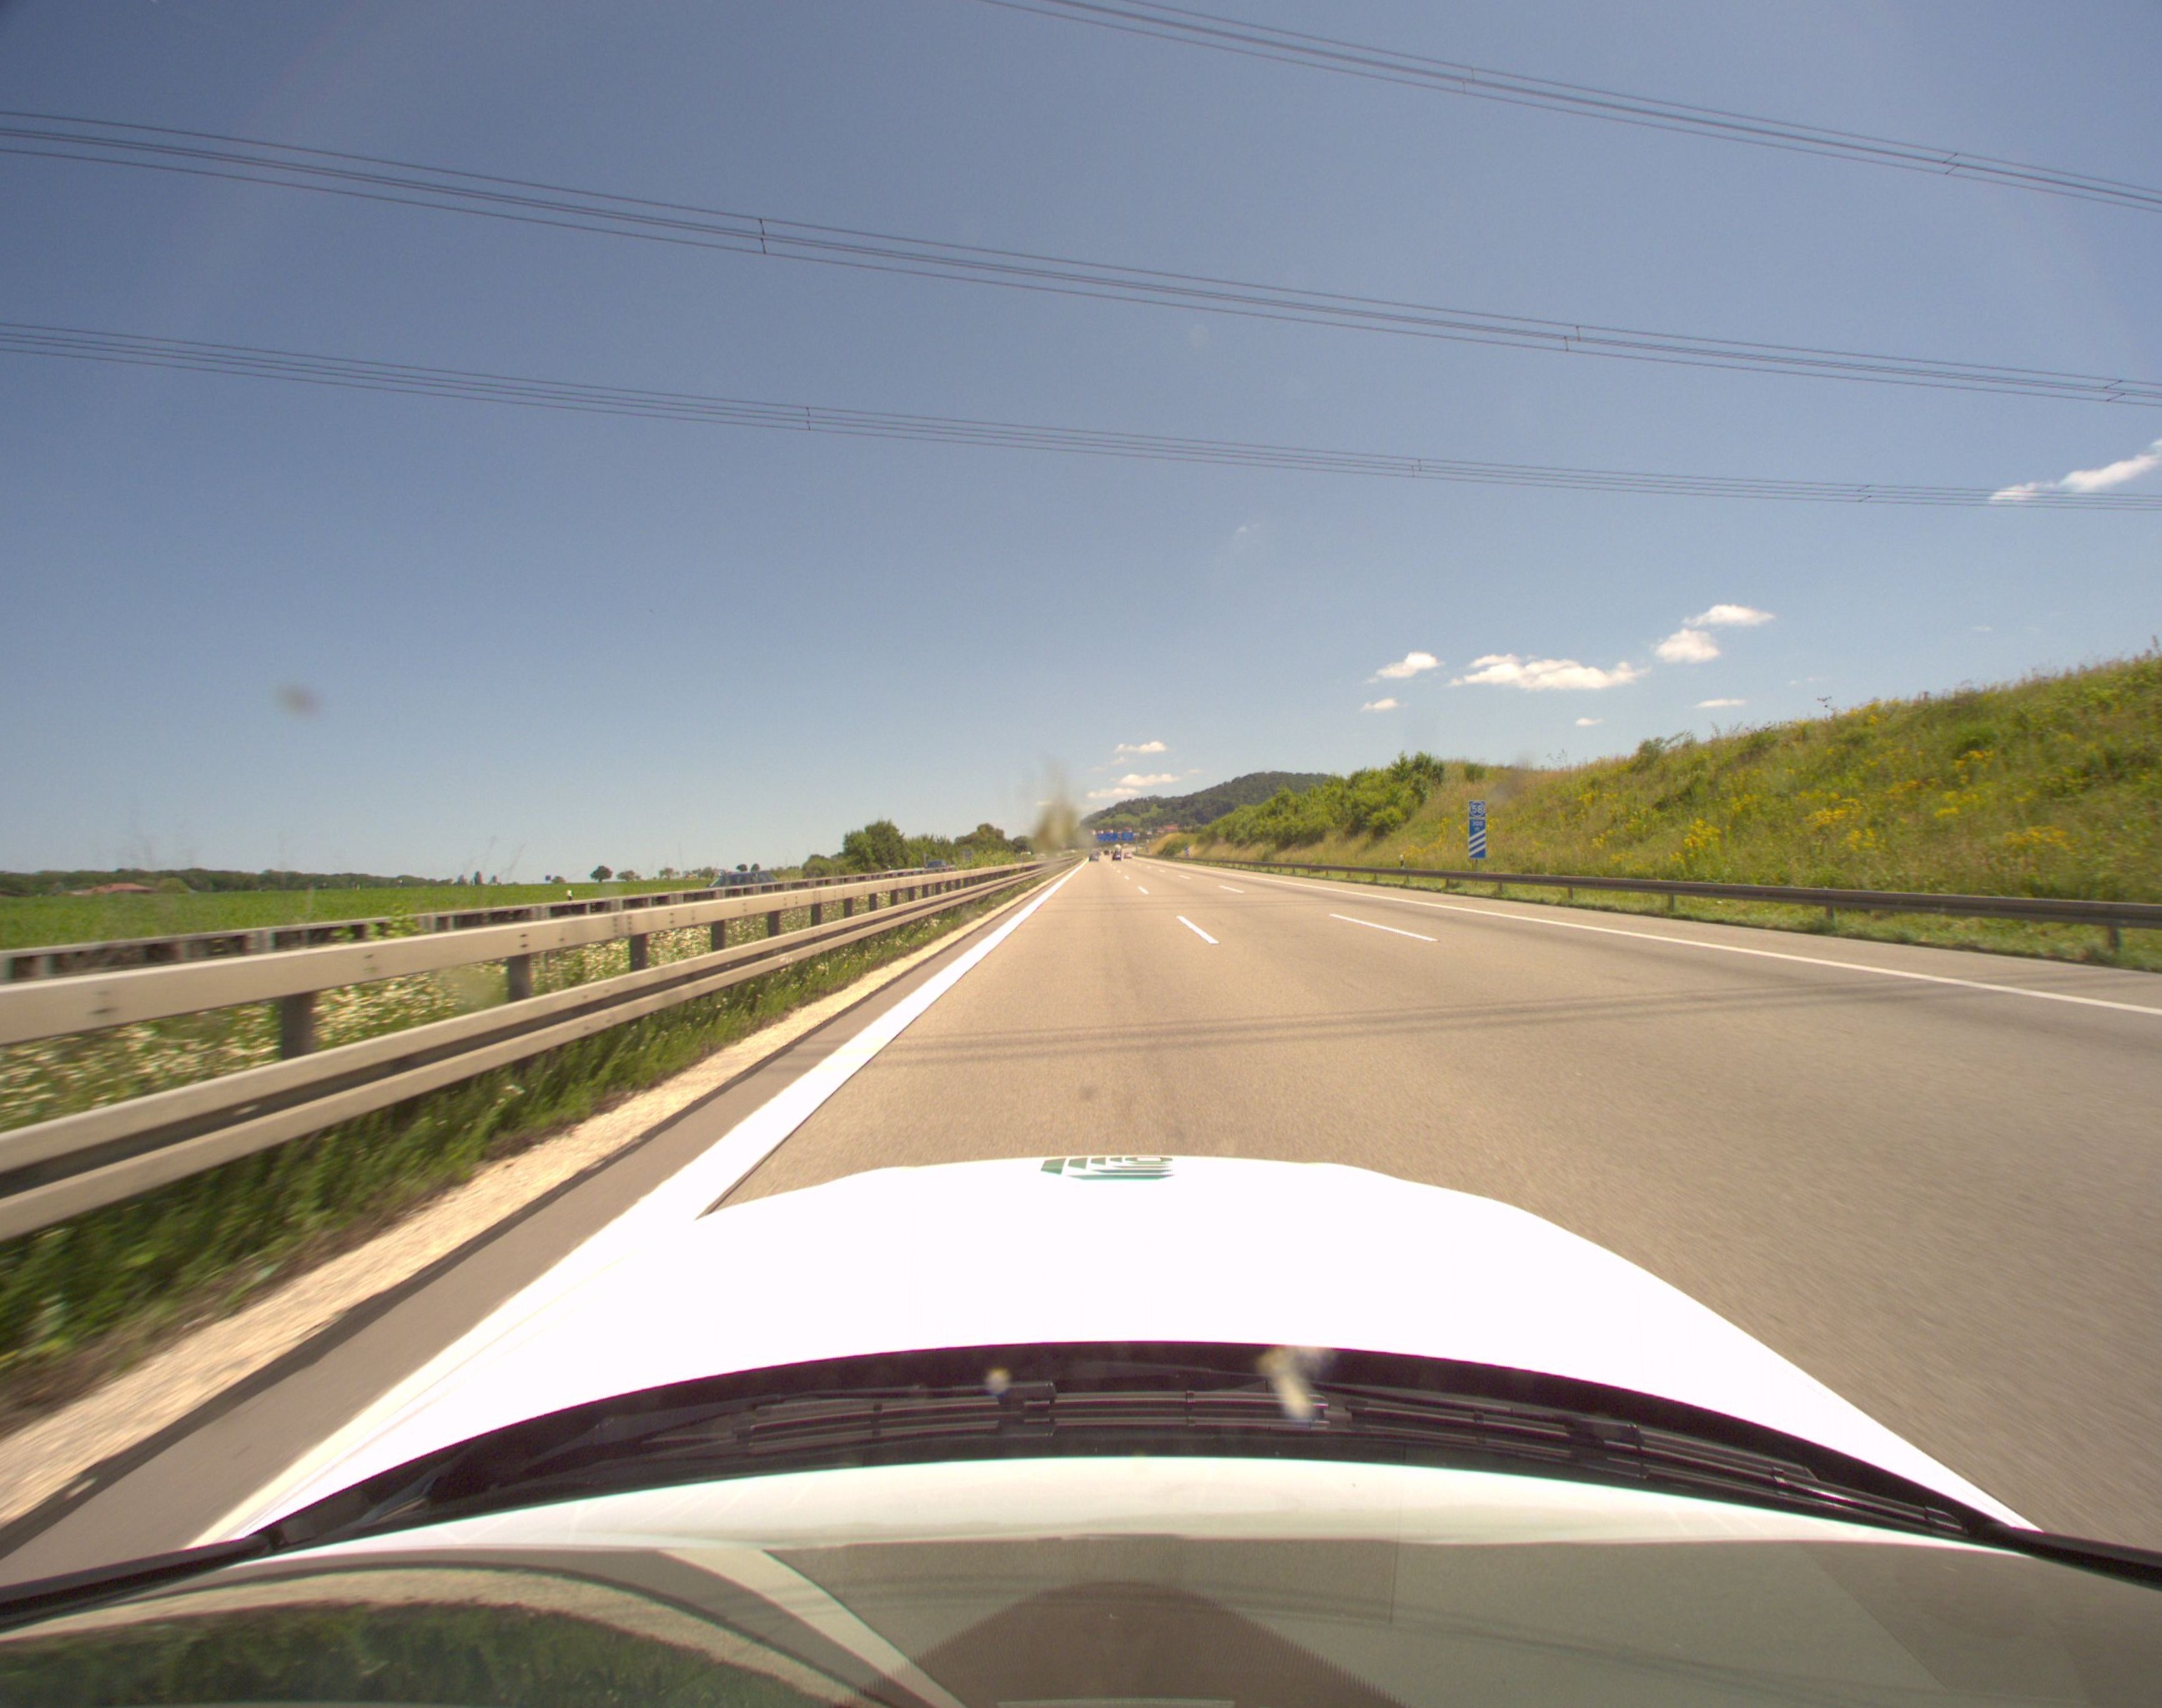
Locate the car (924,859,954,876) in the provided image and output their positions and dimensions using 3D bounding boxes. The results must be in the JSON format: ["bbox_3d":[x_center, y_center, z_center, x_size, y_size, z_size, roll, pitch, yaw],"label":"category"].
[{"bbox_3d":[-13.383,1.287,76.897,1.941,1.543,4.287,0,-1,1],"label":"car"}]

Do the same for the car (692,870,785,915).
[{"bbox_3d":[-12.854,1.394,30.803,1.718,1.433,4.000,-3,0,0],"label":"car"}]

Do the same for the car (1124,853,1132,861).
[{"bbox_3d":[11.543,0.777,200.284,1.986,1.818,4.001,-3,0,2],"label":"car"}]

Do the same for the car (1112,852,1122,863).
[{"bbox_3d":[6.758,0.601,153.079,1.986,2.014,4.001,0,-1,2],"label":"car"}]

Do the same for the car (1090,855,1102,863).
[{"bbox_3d":[2.668,0.811,144.249,1.986,1.389,4.001,0,-1,2],"label":"car"}]
